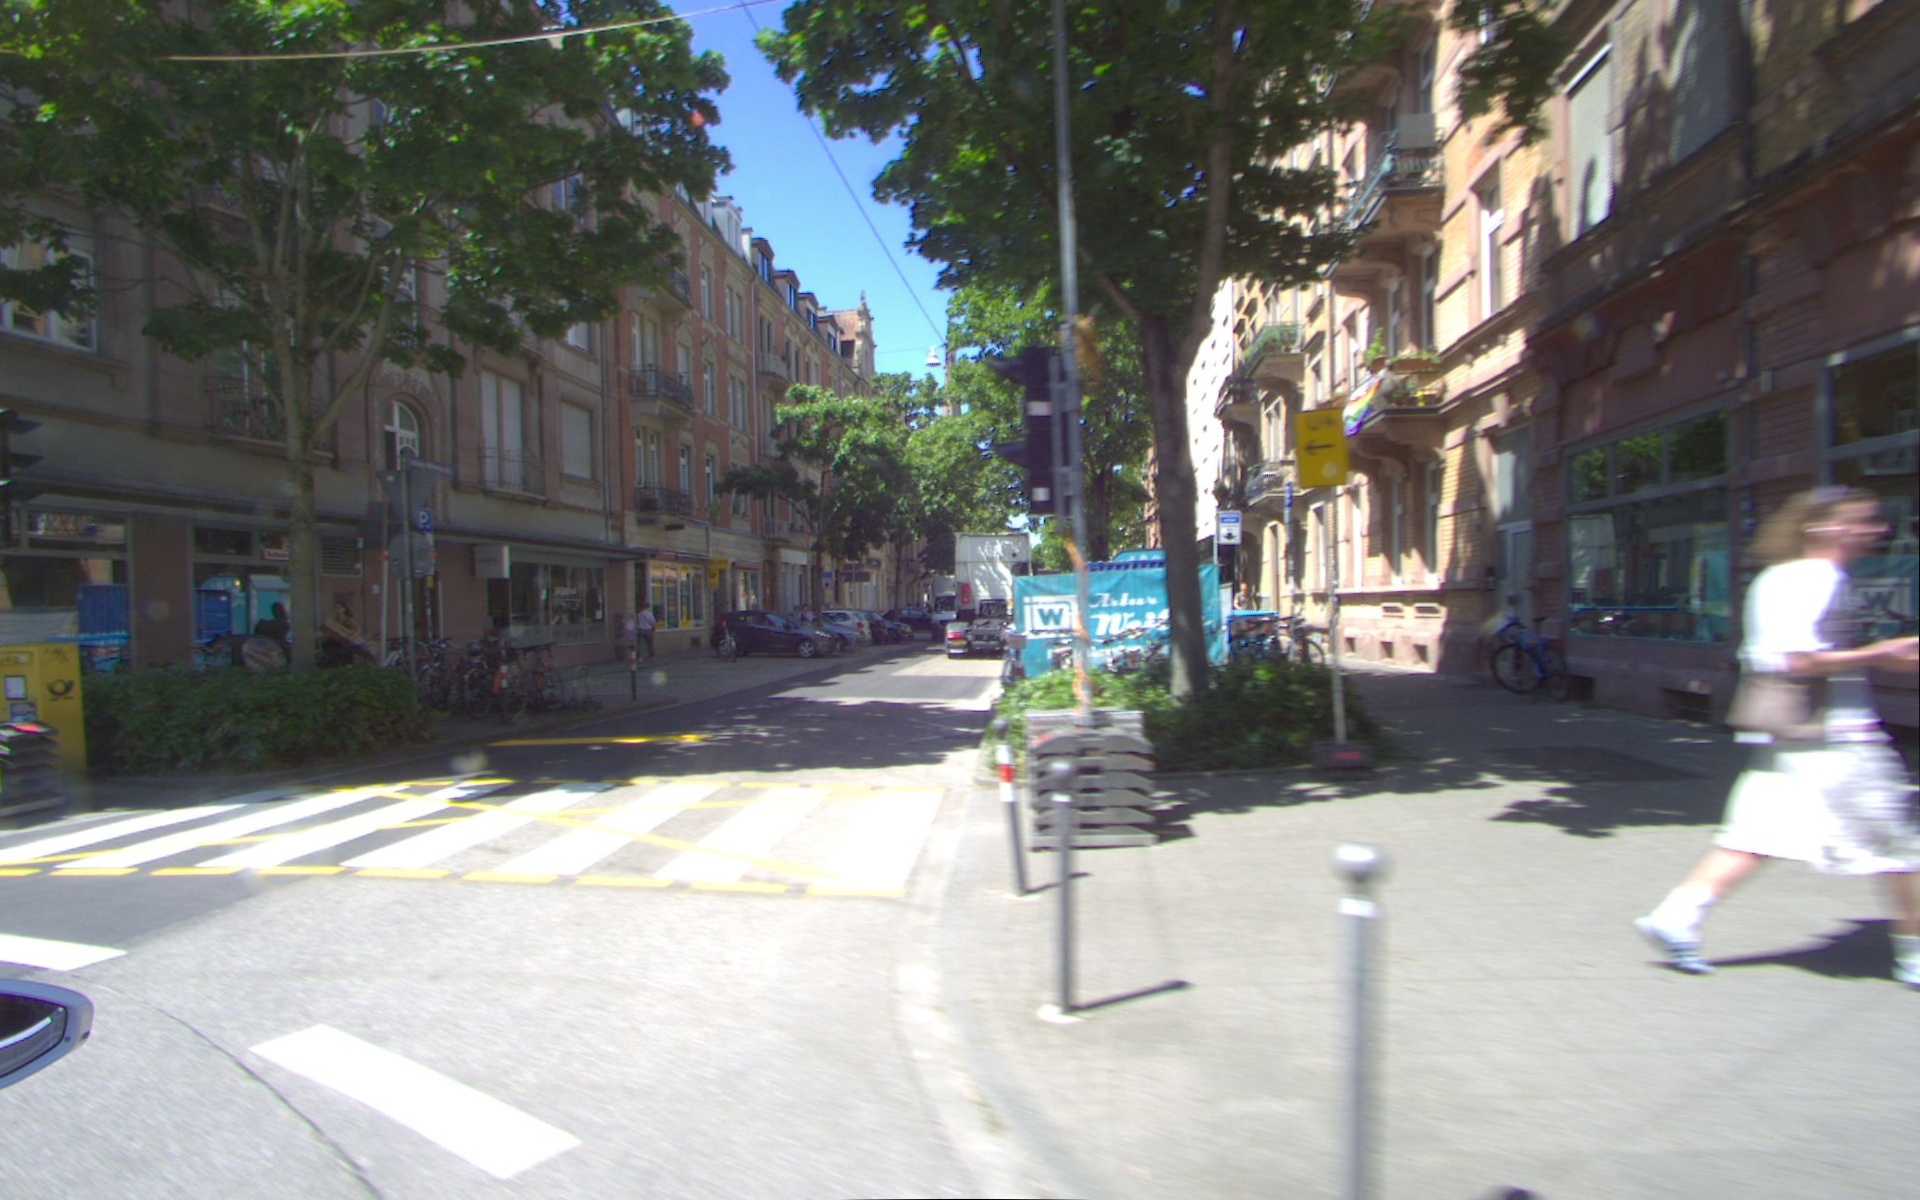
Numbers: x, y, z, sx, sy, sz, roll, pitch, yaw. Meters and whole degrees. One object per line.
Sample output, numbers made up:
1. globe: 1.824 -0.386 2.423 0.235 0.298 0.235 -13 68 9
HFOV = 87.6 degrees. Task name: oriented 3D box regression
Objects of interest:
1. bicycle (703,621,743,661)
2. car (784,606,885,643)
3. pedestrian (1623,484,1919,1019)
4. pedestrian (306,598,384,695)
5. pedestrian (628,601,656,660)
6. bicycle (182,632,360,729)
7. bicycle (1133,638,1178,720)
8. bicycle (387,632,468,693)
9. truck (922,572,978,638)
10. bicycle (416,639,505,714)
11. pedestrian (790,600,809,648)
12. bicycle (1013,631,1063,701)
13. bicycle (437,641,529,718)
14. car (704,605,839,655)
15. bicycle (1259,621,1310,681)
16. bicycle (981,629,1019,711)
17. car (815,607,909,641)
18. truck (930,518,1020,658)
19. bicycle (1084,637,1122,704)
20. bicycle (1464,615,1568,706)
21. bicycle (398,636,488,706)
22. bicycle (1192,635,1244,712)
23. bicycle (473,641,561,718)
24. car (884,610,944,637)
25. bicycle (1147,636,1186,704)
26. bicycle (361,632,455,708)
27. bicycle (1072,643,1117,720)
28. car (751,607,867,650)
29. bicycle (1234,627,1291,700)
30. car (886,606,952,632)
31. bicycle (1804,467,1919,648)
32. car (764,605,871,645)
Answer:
1. bicycle: -6.652 1.129 28.078 0.536 1.059 1.927 -1 0 -31
2. car: -5.083 0.977 40.873 3.778 1.458 1.792 0 0 4
3. pedestrian: 2.981 0.512 3.625 0.858 1.755 0.477 -2 0 26
4. pedestrian: -10.814 0.806 17.627 0.772 1.656 0.858 -1 1 6
5. pedestrian: -8.835 0.840 27.829 0.548 1.636 0.492 -1 1 11
6. bicycle: -9.190 1.034 13.462 0.508 1.147 1.981 -1 0 24
7. bicycle: 2.470 0.971 12.770 0.499 0.883 2.074 -1 0 10
8. bicycle: -9.729 1.120 18.354 0.495 1.010 1.729 1 0 3
9. truck: -0.419 0.258 46.710 1.961 2.894 4.267 -1 0 7
10. bicycle: -7.621 1.140 15.352 0.461 1.019 1.689 1 0 3
11. pedestrian: -5.450 0.810 34.047 0.533 1.604 0.478 -1 1 4
12. bicycle: 1.149 0.920 14.458 0.499 0.883 2.074 -1 0 10
13. bicycle: -7.051 1.148 14.889 0.461 1.010 1.766 1 0 3
14. car: -5.757 0.907 30.863 3.778 1.458 1.792 0 0 4
15. bicycle: 5.334 0.817 16.544 0.499 0.883 2.074 -1 0 10
16. bicycle: 0.590 1.031 15.276 0.499 1.121 1.784 -1 0 0
17. car: -4.224 1.030 43.500 3.778 1.458 1.792 0 0 4
18. truck: 0.567 -0.330 31.368 2.244 4.007 4.476 -1 0 7
19. bicycle: 2.193 1.042 15.245 0.499 0.883 2.074 -1 0 10
20. bicycle: 6.881 0.716 12.472 0.512 1.021 1.696 -1 0 7
21. bicycle: -8.288 1.114 16.134 0.461 1.010 1.766 1 0 3
22. bicycle: 3.446 0.957 13.464 0.499 0.883 2.074 -1 0 10
23. bicycle: -6.528 1.146 14.842 0.461 1.010 1.766 1 0 3
24. car: -2.665 1.361 58.595 3.356 1.483 1.618 -1 0 3
25. bicycle: 3.132 1.038 15.293 0.499 0.883 2.074 -1 0 10
26. bicycle: -8.836 1.098 16.109 0.461 1.095 1.766 1 0 3
27. bicycle: 1.811 1.058 13.346 0.499 0.883 1.744 -1 0 10
28. car: -5.345 1.007 35.712 3.778 1.458 1.792 0 0 4
29. bicycle: 4.186 0.849 13.954 0.499 0.883 2.074 -1 0 10
30. car: -2.494 1.158 61.380 3.855 1.483 1.618 -1 0 3
31. bicycle: 6.507 -0.278 6.796 0.500 1.167 1.426 -1 0 9
32. car: -5.475 0.958 38.777 3.778 1.458 1.792 0 0 4
